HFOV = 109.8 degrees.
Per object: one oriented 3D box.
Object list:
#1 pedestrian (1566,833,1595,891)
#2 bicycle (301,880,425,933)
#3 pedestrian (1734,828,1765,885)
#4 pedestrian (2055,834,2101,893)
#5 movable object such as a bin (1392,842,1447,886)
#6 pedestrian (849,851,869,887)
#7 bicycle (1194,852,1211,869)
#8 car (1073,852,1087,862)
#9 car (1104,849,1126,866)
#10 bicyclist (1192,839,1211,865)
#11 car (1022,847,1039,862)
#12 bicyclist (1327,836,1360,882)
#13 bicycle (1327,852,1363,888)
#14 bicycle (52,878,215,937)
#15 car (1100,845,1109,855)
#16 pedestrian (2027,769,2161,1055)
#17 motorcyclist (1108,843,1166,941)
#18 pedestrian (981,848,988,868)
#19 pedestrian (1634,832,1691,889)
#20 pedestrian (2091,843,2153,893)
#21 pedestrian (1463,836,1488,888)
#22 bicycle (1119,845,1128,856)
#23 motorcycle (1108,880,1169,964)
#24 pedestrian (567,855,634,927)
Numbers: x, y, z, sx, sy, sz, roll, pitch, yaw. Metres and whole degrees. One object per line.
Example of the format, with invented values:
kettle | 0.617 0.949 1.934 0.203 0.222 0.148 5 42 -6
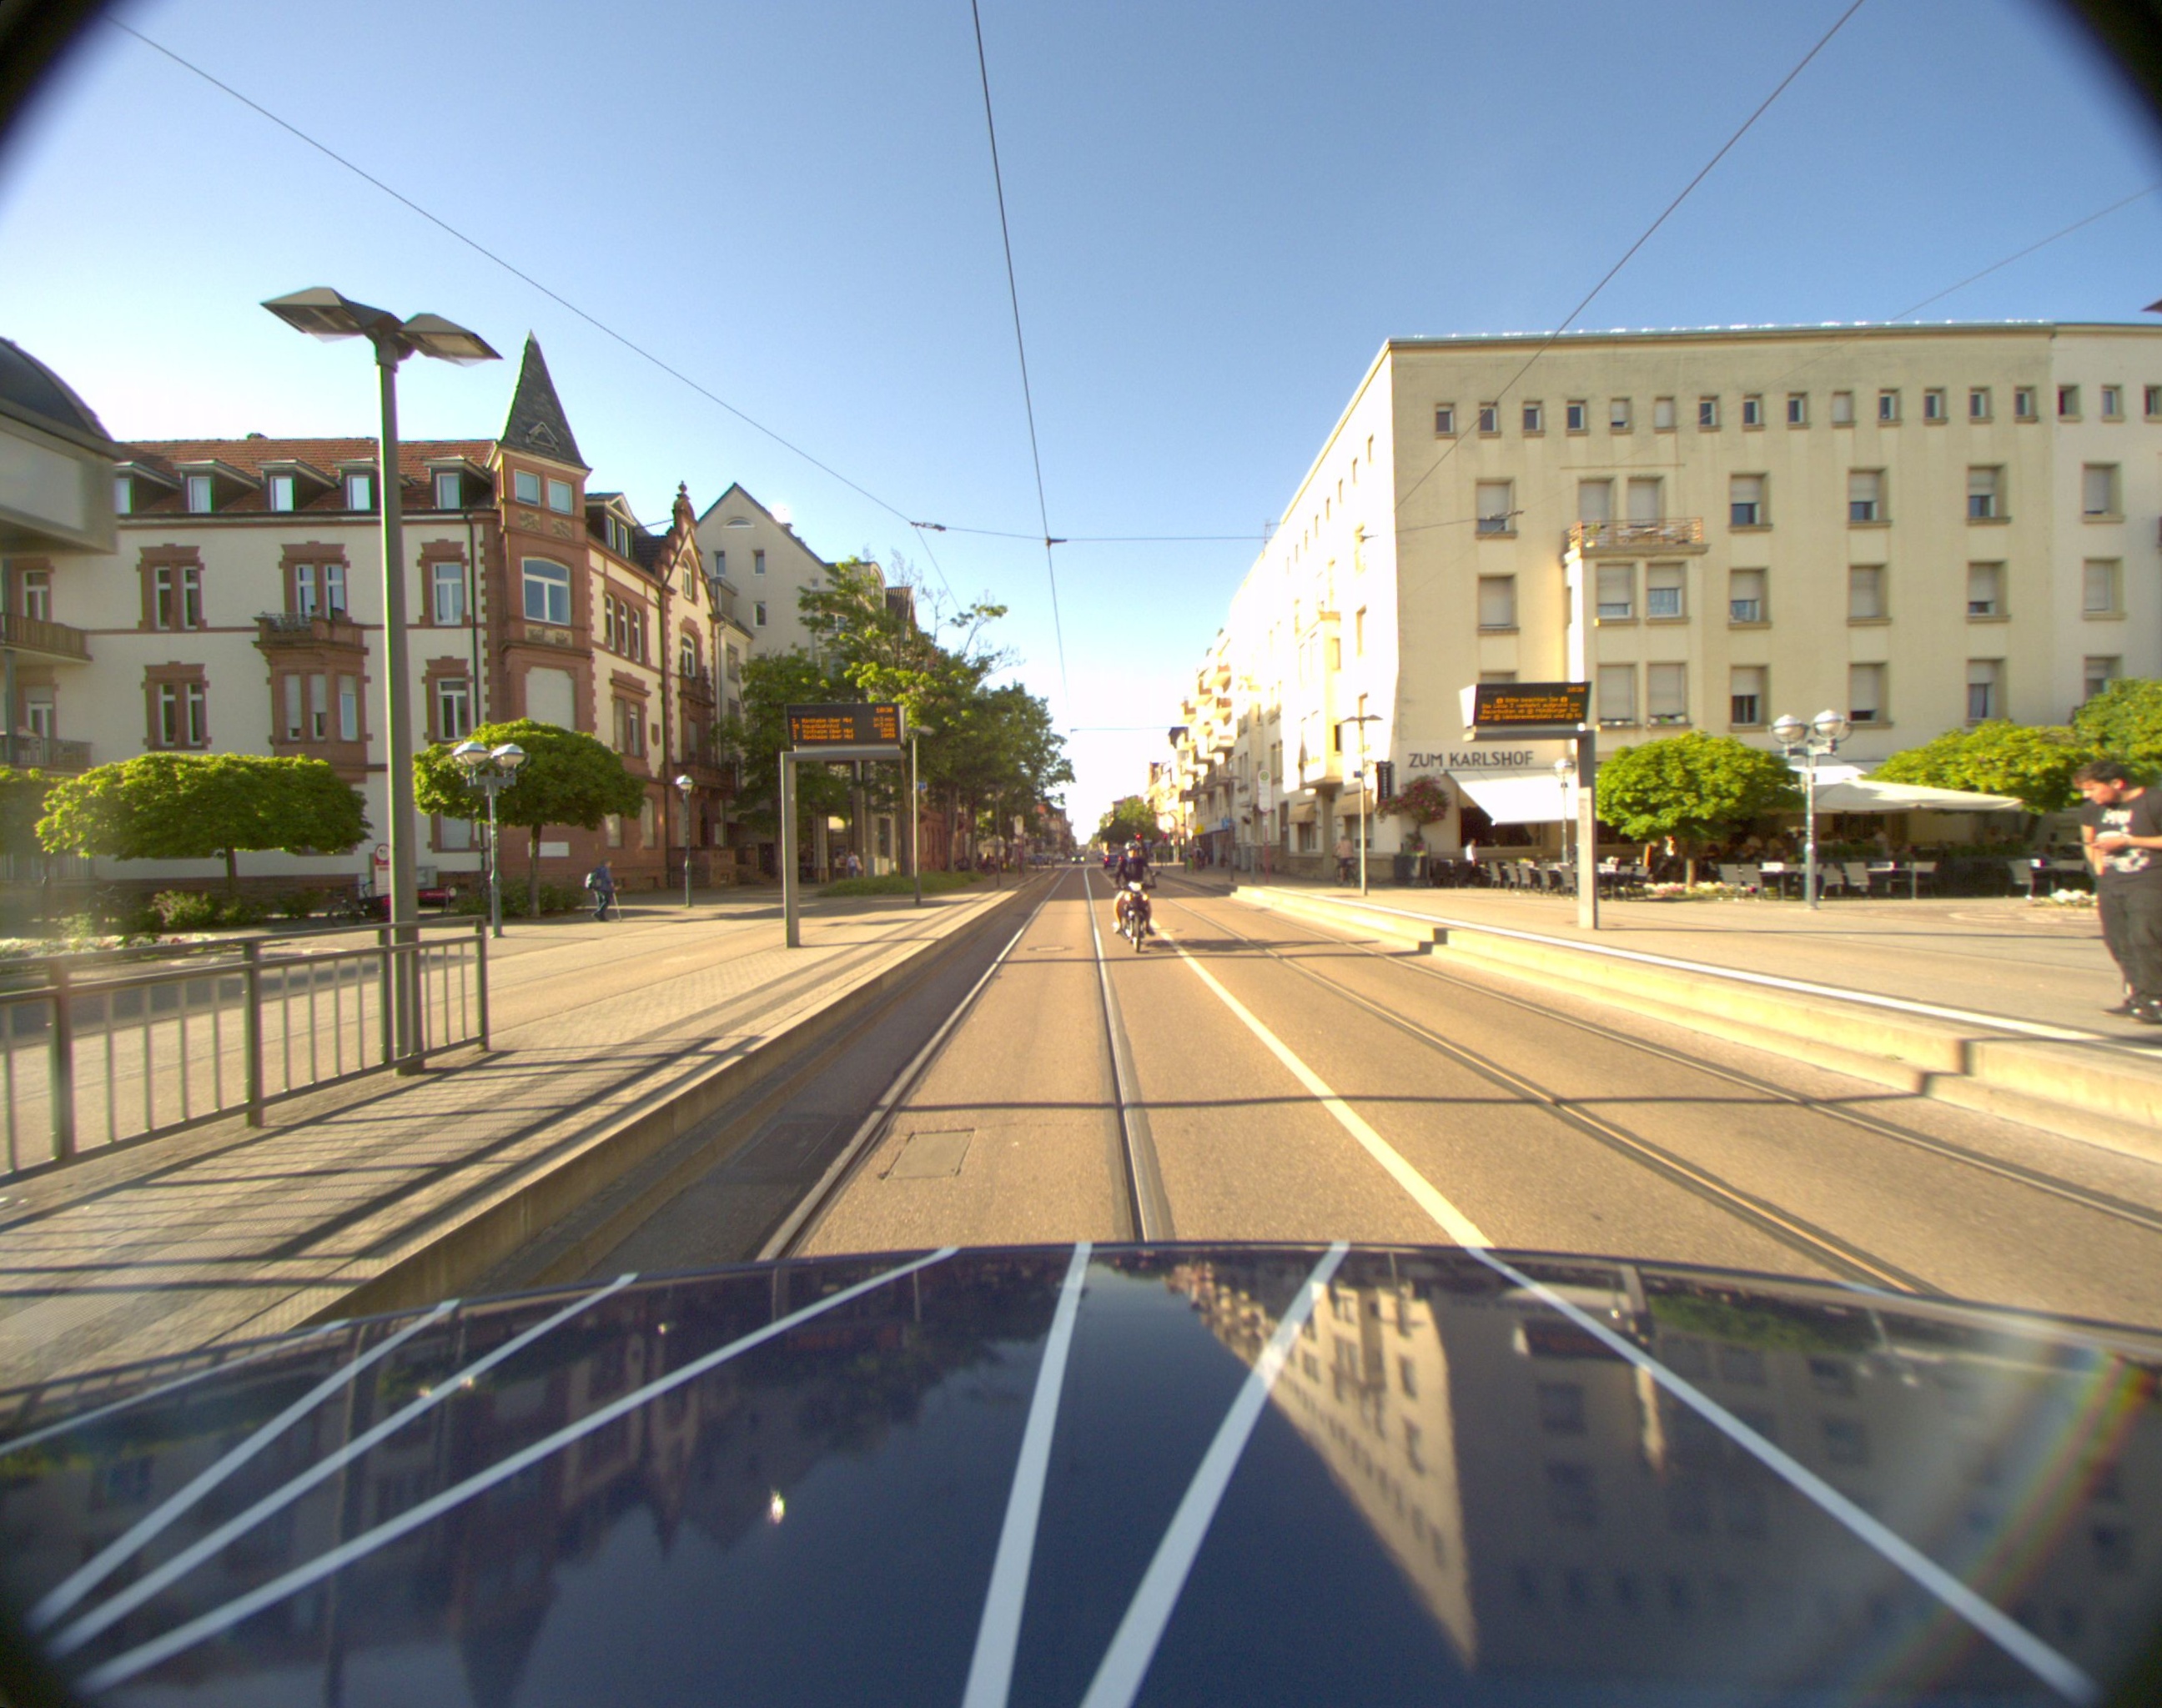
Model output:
pedestrian | 14.363 0.253 21.851 0.672 1.634 0.678 -1 -2 33
bicycle | -18.176 1.286 19.371 0.790 1.062 2.804 -2 2 -9
pedestrian | 21.825 0.085 24.818 0.578 1.813 0.647 -2 1 -36
pedestrian | 29.848 0.286 22.750 0.675 1.726 0.683 1 -2 -27
movable object such as a bin | 11.170 0.319 25.111 1.319 1.392 1.128 -1 1 -1
pedestrian | -10.933 0.707 37.376 0.742 1.725 0.877 -1 1 -6
bicycle | 8.374 0.441 52.406 0.714 1.119 2.035 -1 1 -4
car | -0.087 0.458 111.962 1.998 1.318 3.863 -1 1 0
car | 3.167 0.277 71.504 1.671 1.479 3.999 -2 1 -1
bicyclist | 8.303 -0.130 52.440 1.006 1.783 1.095 -1 1 -5
car | -7.317 0.066 110.373 1.998 2.002 4.001 -1 1 4
bicyclist | 8.574 0.159 24.867 0.829 1.447 0.877 -2 1 8
bicycle | 8.581 0.498 24.773 0.729 1.107 1.978 -2 1 8
bicycle | -25.824 1.417 20.837 0.746 1.364 2.914 -1 1 0
car | 5.119 -0.896 166.042 1.877 2.105 4.000 -1 1 2
pedestrian | 6.677 0.348 4.812 0.550 1.708 0.607 1 1 3
motorcyclist | 0.863 0.574 12.039 0.821 1.466 1.114 -1 1 1
pedestrian | -10.158 0.407 79.845 0.653 2.002 0.559 -1 1 3
pedestrian | 17.092 0.193 22.332 1.066 1.634 0.757 0 -2 -4
pedestrian | 26.788 0.370 19.564 0.673 1.262 0.644 0 -2 -4
pedestrian | 12.616 0.267 24.313 0.672 1.634 0.752 -1 -2 27
bicycle | 6.906 -0.518 123.564 1.227 1.719 3.106 -1 1 -1
motorcycle | 0.869 1.018 12.112 0.799 1.090 2.428 -1 1 1
pedestrian | -11.695 0.879 18.531 1.070 1.659 0.956 -2 1 -12
